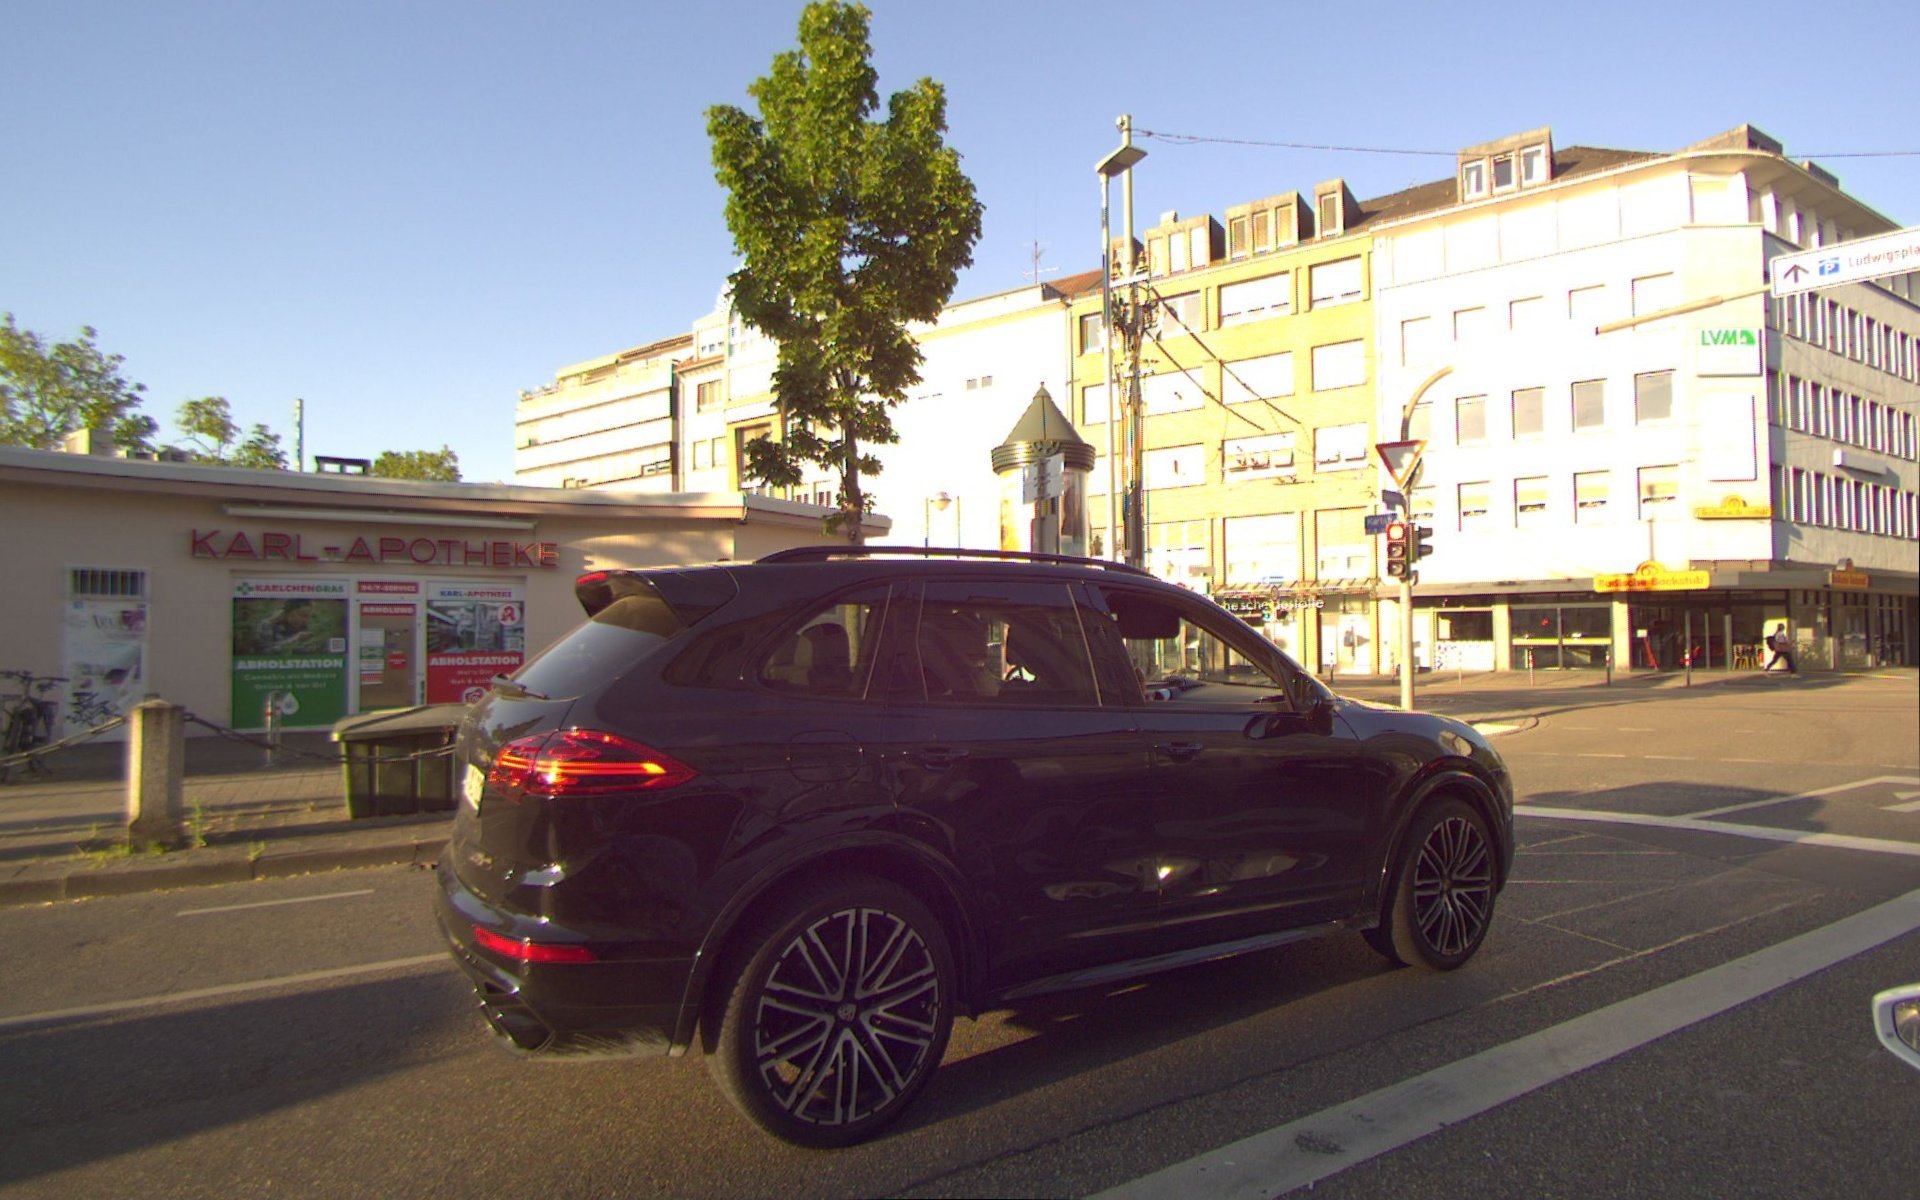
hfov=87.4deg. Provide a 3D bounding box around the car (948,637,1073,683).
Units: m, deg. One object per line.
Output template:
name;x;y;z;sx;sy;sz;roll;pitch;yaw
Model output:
car;1.863;2.217;37.798;4.377;1.616;1.872;-2;-2;36

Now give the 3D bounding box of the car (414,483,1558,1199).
car;0.317;0.679;4.238;4.511;1.736;1.938;1;-3;-32

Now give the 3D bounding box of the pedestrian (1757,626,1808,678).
pedestrian;24.976;1.570;30.510;0.930;1.557;0.908;-1;-2;22

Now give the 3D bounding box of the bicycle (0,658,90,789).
bicycle;-9.953;1.271;10.709;0.625;1.273;1.846;1;-3;-29
